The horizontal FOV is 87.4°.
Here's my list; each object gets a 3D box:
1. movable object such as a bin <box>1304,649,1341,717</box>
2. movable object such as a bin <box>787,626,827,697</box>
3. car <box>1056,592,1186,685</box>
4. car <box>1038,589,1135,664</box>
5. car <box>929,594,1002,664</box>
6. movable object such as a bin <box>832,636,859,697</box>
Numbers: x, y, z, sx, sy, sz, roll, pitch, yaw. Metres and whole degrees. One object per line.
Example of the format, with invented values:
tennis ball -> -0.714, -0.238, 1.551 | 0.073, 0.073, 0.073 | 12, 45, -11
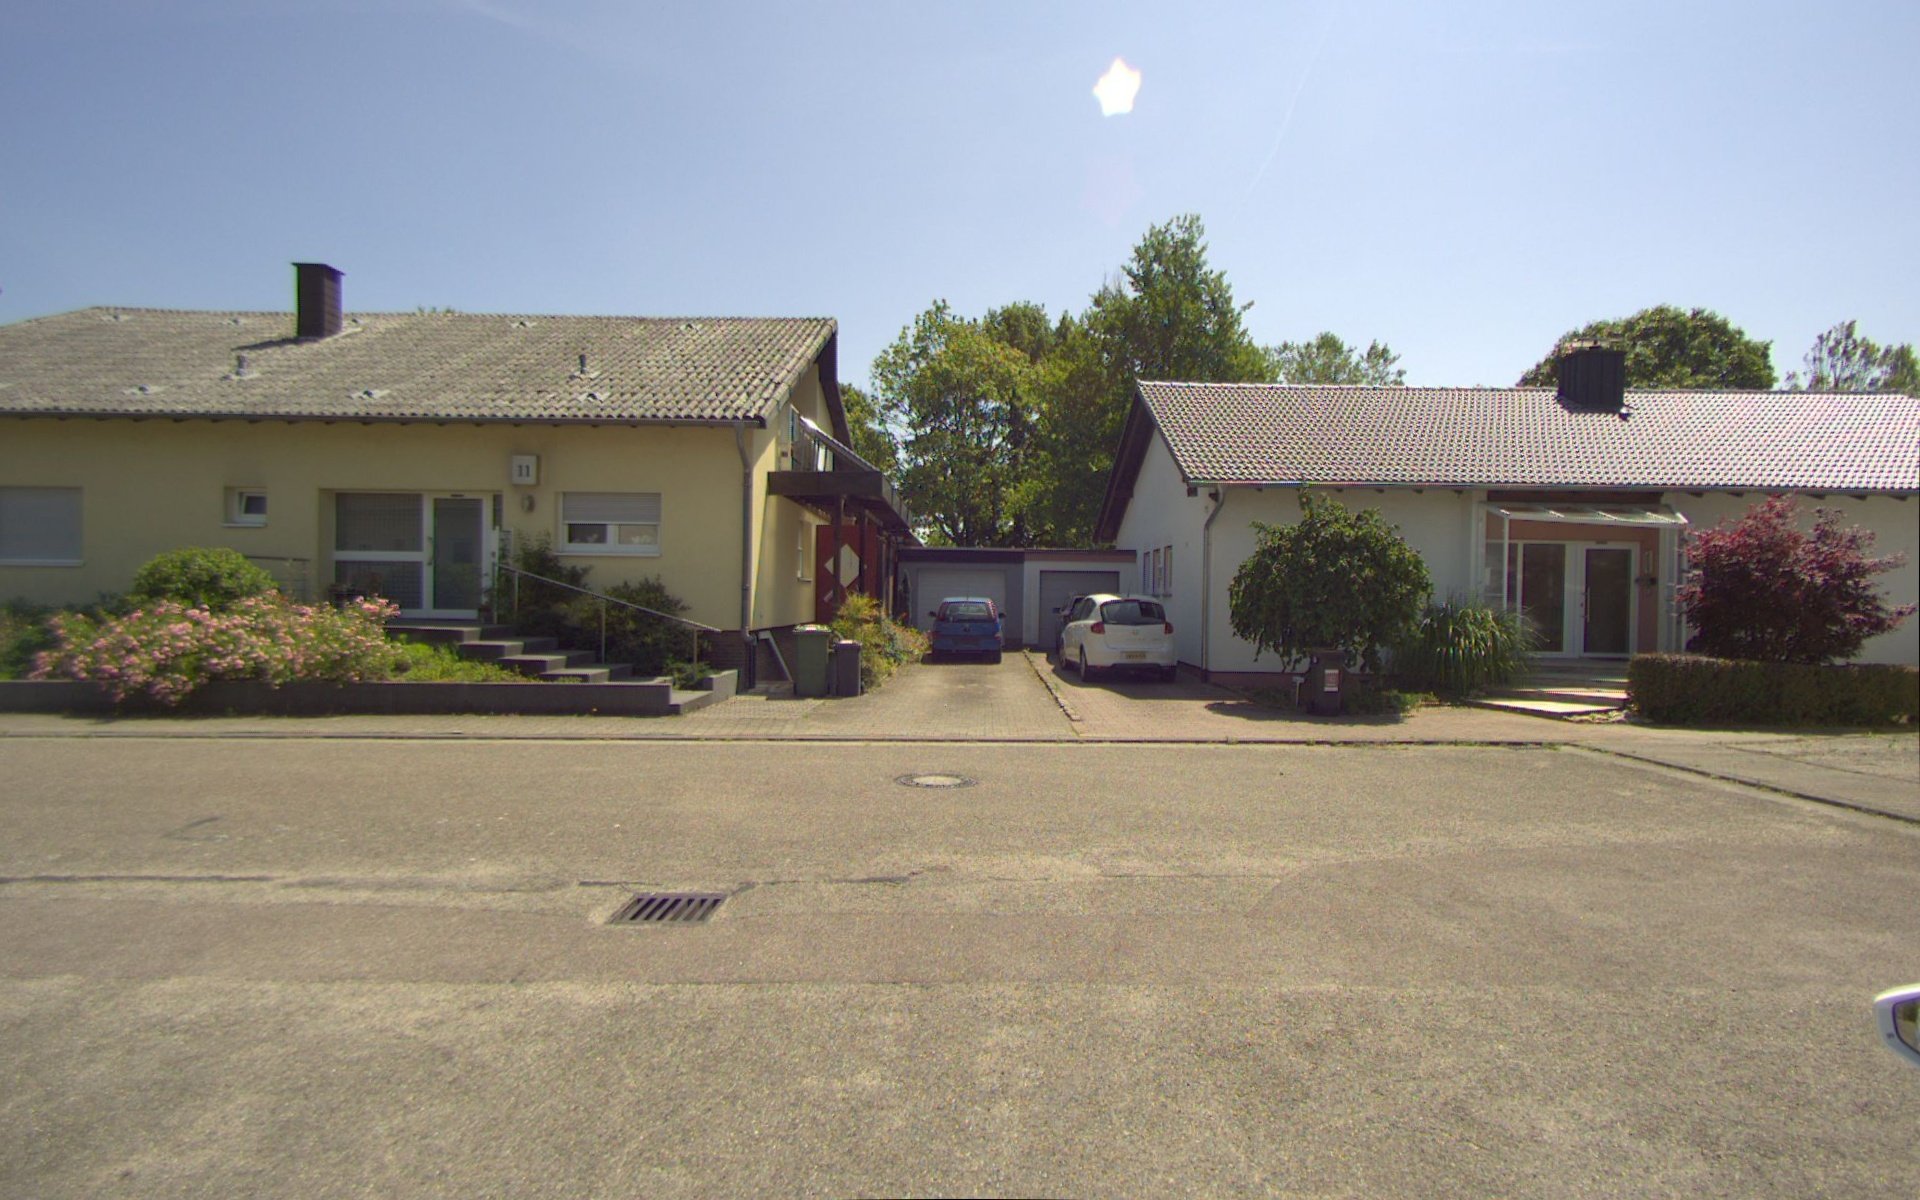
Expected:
movable object such as a bin -> 4.982, 1.136, 13.817 | 0.368, 0.903, 0.390 | 0, 1, 0
movable object such as a bin -> -2.348, 0.941, 15.411 | 0.582, 1.055, 0.491 | 0, 1, -7
car -> 3.004, 0.664, 19.504 | 1.718, 1.589, 3.998 | 1, 1, -2
car -> 2.931, 0.553, 24.055 | 1.890, 1.629, 4.000 | 0, 1, 1
car -> 0.138, 0.632, 23.874 | 1.588, 1.474, 3.254 | 1, 2, 1
movable object such as a bin -> -1.762, 1.018, 15.459 | 0.400, 0.903, 0.426 | 0, 1, -7
